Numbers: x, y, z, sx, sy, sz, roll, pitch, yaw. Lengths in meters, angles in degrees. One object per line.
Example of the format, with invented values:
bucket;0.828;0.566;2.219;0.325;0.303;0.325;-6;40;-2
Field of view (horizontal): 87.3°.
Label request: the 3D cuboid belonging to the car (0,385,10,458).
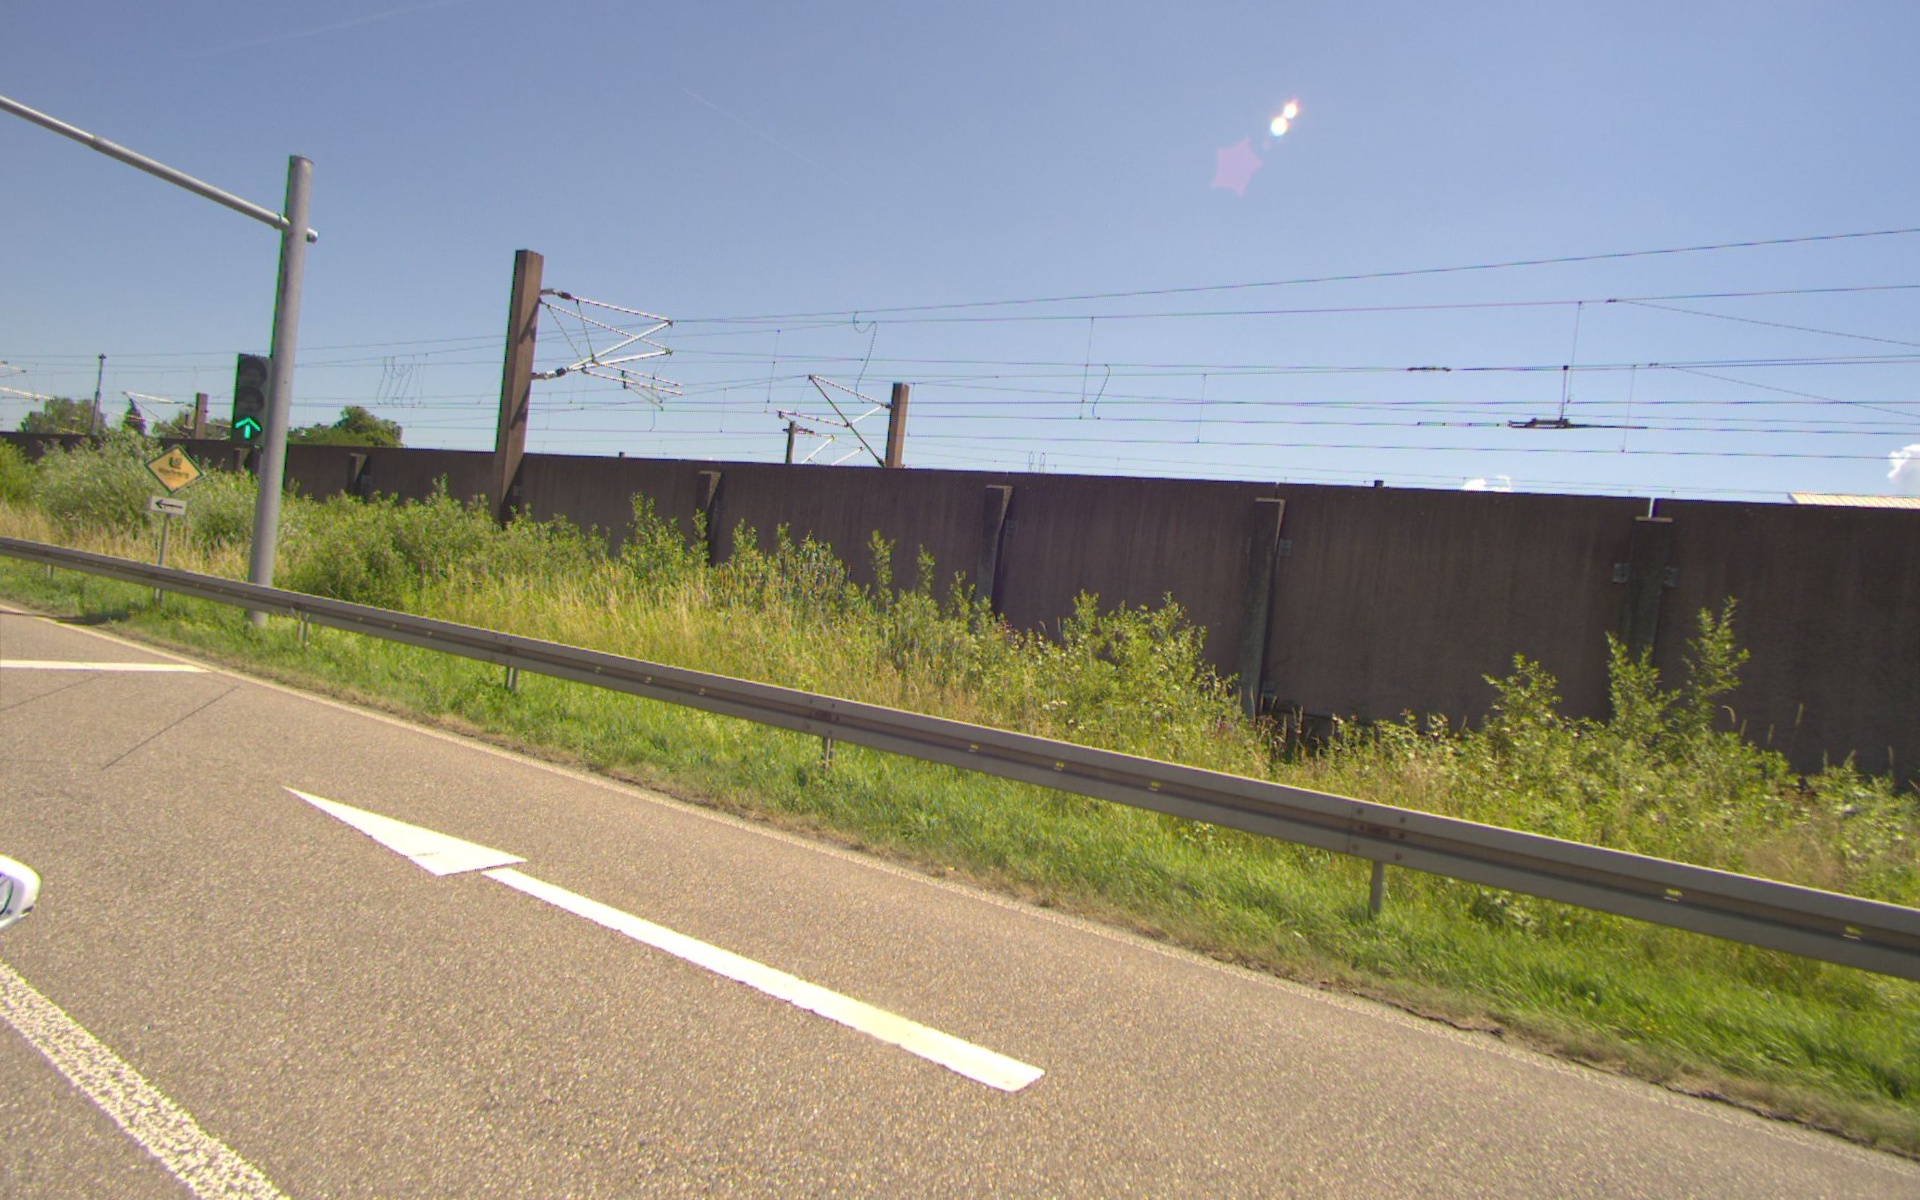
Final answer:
car;-14.245;-1.543;12.128;6.638;2.634;2.192;7;-1;31
